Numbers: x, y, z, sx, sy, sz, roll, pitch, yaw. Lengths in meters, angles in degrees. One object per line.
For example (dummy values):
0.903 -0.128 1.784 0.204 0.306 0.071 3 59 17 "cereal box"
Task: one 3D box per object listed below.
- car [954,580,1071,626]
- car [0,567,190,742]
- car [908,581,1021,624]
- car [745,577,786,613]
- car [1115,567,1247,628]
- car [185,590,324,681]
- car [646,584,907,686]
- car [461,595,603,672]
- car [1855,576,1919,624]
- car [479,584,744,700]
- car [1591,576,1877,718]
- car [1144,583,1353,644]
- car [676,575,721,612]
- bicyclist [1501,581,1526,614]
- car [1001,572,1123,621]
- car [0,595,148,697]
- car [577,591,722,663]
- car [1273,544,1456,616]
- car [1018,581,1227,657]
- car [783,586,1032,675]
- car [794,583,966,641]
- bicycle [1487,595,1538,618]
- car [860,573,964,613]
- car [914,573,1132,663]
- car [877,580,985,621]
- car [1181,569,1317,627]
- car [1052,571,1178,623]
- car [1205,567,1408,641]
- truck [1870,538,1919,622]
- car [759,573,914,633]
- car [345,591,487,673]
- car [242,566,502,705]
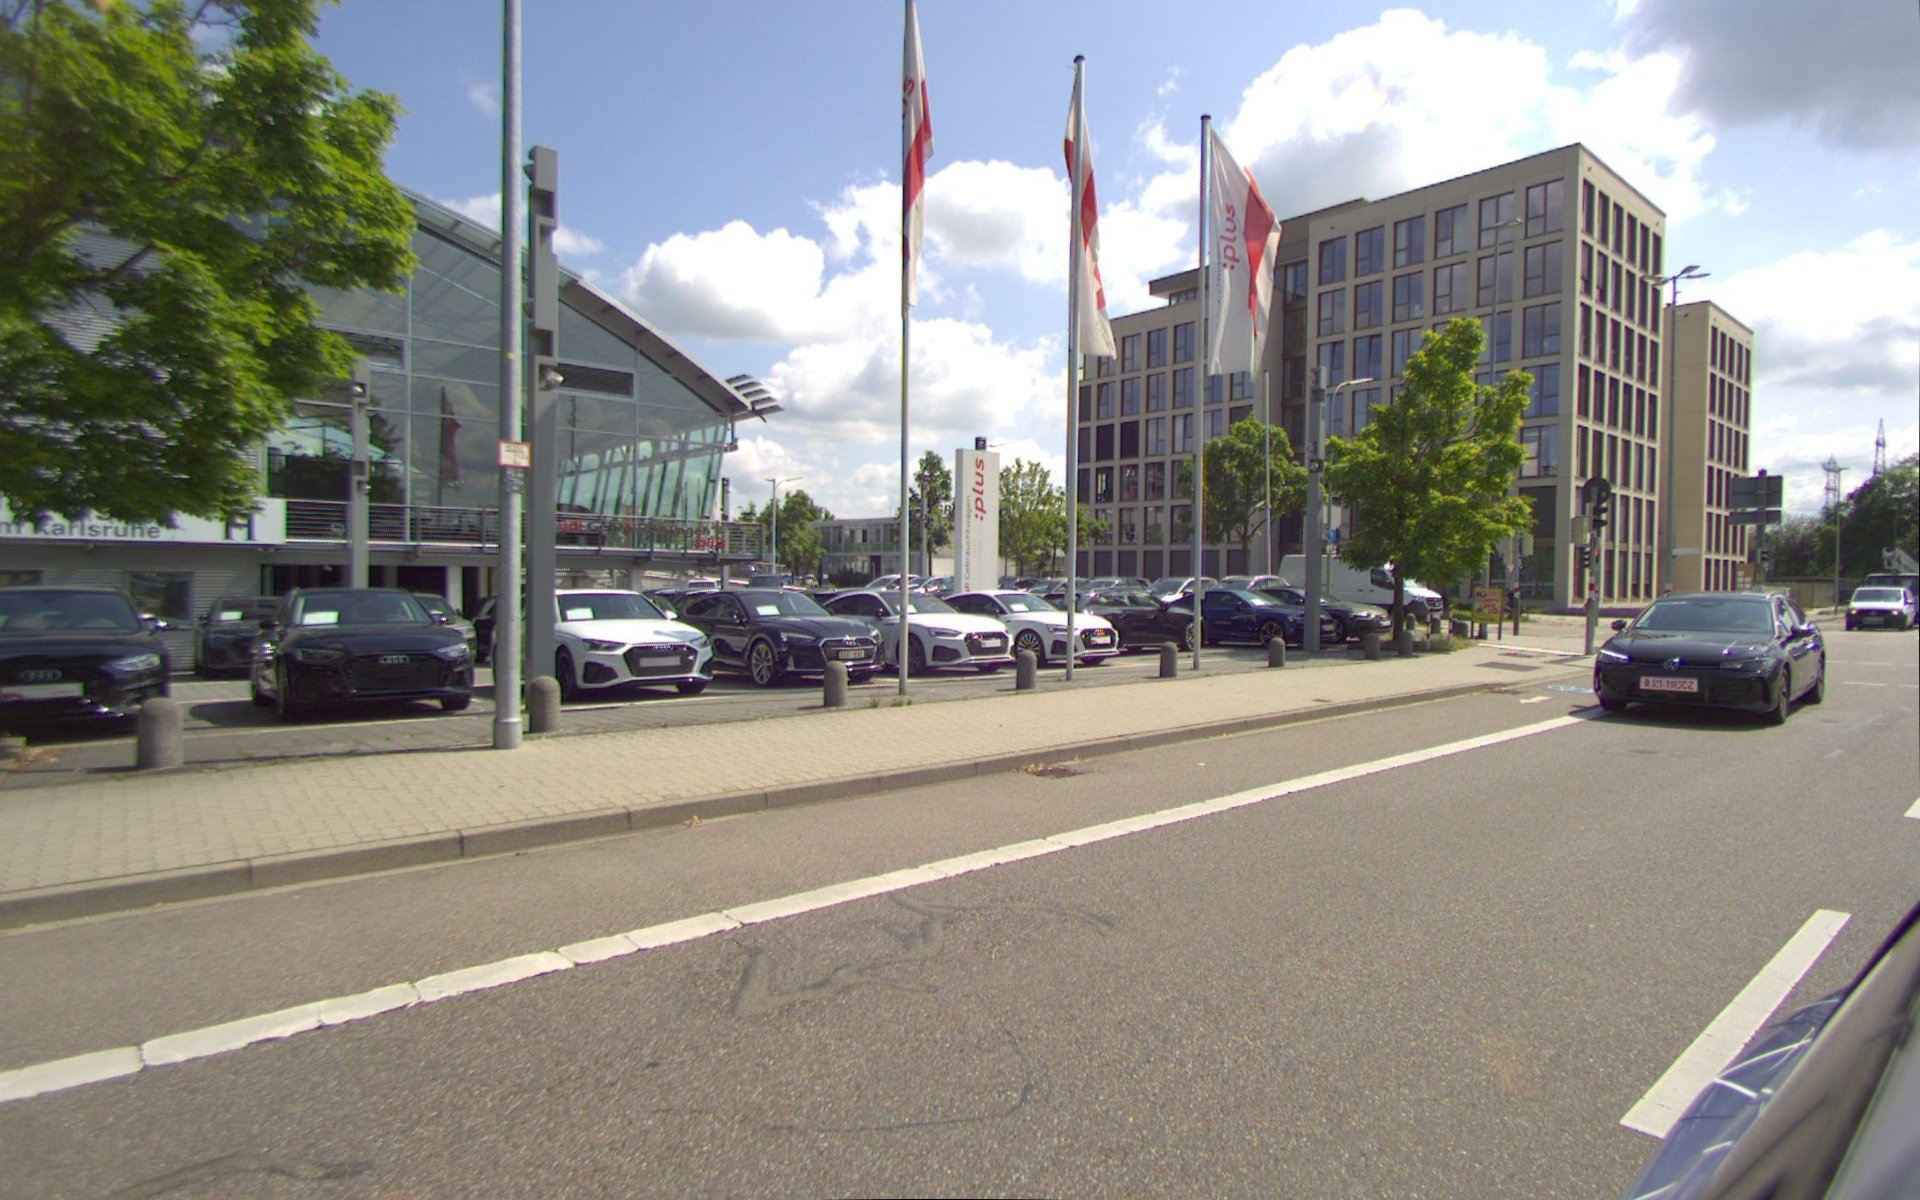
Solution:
2.116 0.156 39.864 4.507 1.699 1.905 1 -1 -39 "car"
-8.978 0.492 10.041 1.873 1.402 4.582 2 -2 -40 "car"
0.227 0.120 42.080 4.507 1.699 1.905 1 -1 -39 "car"
-9.837 -0.231 50.968 1.867 1.699 4.598 1 -1 -12 "car"
7.437 -0.127 33.838 4.510 1.698 1.905 -4 3 -39 "car"
-14.073 0.609 20.084 1.874 1.517 4.355 -1 2 -40 "car"
-2.950 0.460 15.450 1.873 1.314 4.583 2 -1 -40 "car"
-10.095 0.705 23.700 1.874 1.517 4.355 -1 2 -40 "car"
39.185 0.034 42.520 4.908 1.861 1.995 2 -1 -44 "car"
-4.888 0.476 13.773 1.873 1.314 4.583 2 -1 -40 "car"
10.082 0.506 13.008 5.110 1.497 1.812 1 0 -40 "car"
6.799 0.293 24.260 1.873 1.314 4.583 2 -1 -40 "car"
-12.645 -0.296 49.148 1.867 1.699 4.598 1 -1 -12 "car"
25.622 -0.102 46.876 0.911 1.496 0.629 0 -1 39 "bicyclist"
3.857 -0.107 37.767 4.507 1.699 1.905 1 -1 -39 "car"
-15.941 0.717 18.271 1.874 1.517 4.355 -1 2 -40 "car"
-7.720 0.581 24.913 1.874 1.517 4.355 -1 2 -40 "car"
16.041 -0.732 40.627 2.098 2.640 6.865 2 -1 -33 "car"
3.597 0.367 21.891 4.671 1.483 1.793 -1 -2 -40 "car"
-1.033 0.452 17.327 1.873 1.314 4.583 2 -1 -40 "car"
-2.270 0.327 29.419 4.671 1.530 1.982 -1 -2 -40 "car"
25.593 0.292 46.886 1.968 1.024 0.640 1 -1 39 "bicycle"
-2.157 -0.305 46.423 4.507 1.699 1.905 1 -1 -39 "car"
1.074 0.358 18.917 1.764 1.483 3.993 -1 -2 -40 "car"
-1.232 0.039 44.233 4.507 1.699 1.905 1 -1 -39 "car"
9.137 -0.028 31.848 4.507 1.699 1.905 1 -1 -39 "car"
5.541 -0.064 35.898 4.507 1.699 1.905 1 -1 -39 "car"
8.713 0.094 25.791 1.873 1.699 4.583 2 -1 -40 "car"
44.876 -0.788 47.355 9.618 3.600 2.669 2 -1 -43 "truck"
-3.810 0.124 31.683 4.475 1.763 1.996 1 -1 -43 "car"
-11.936 0.614 22.085 1.874 1.517 4.355 -1 2 -40 "car"
-7.090 0.462 11.958 1.873 1.314 4.581 2 -4 -40 "car"
